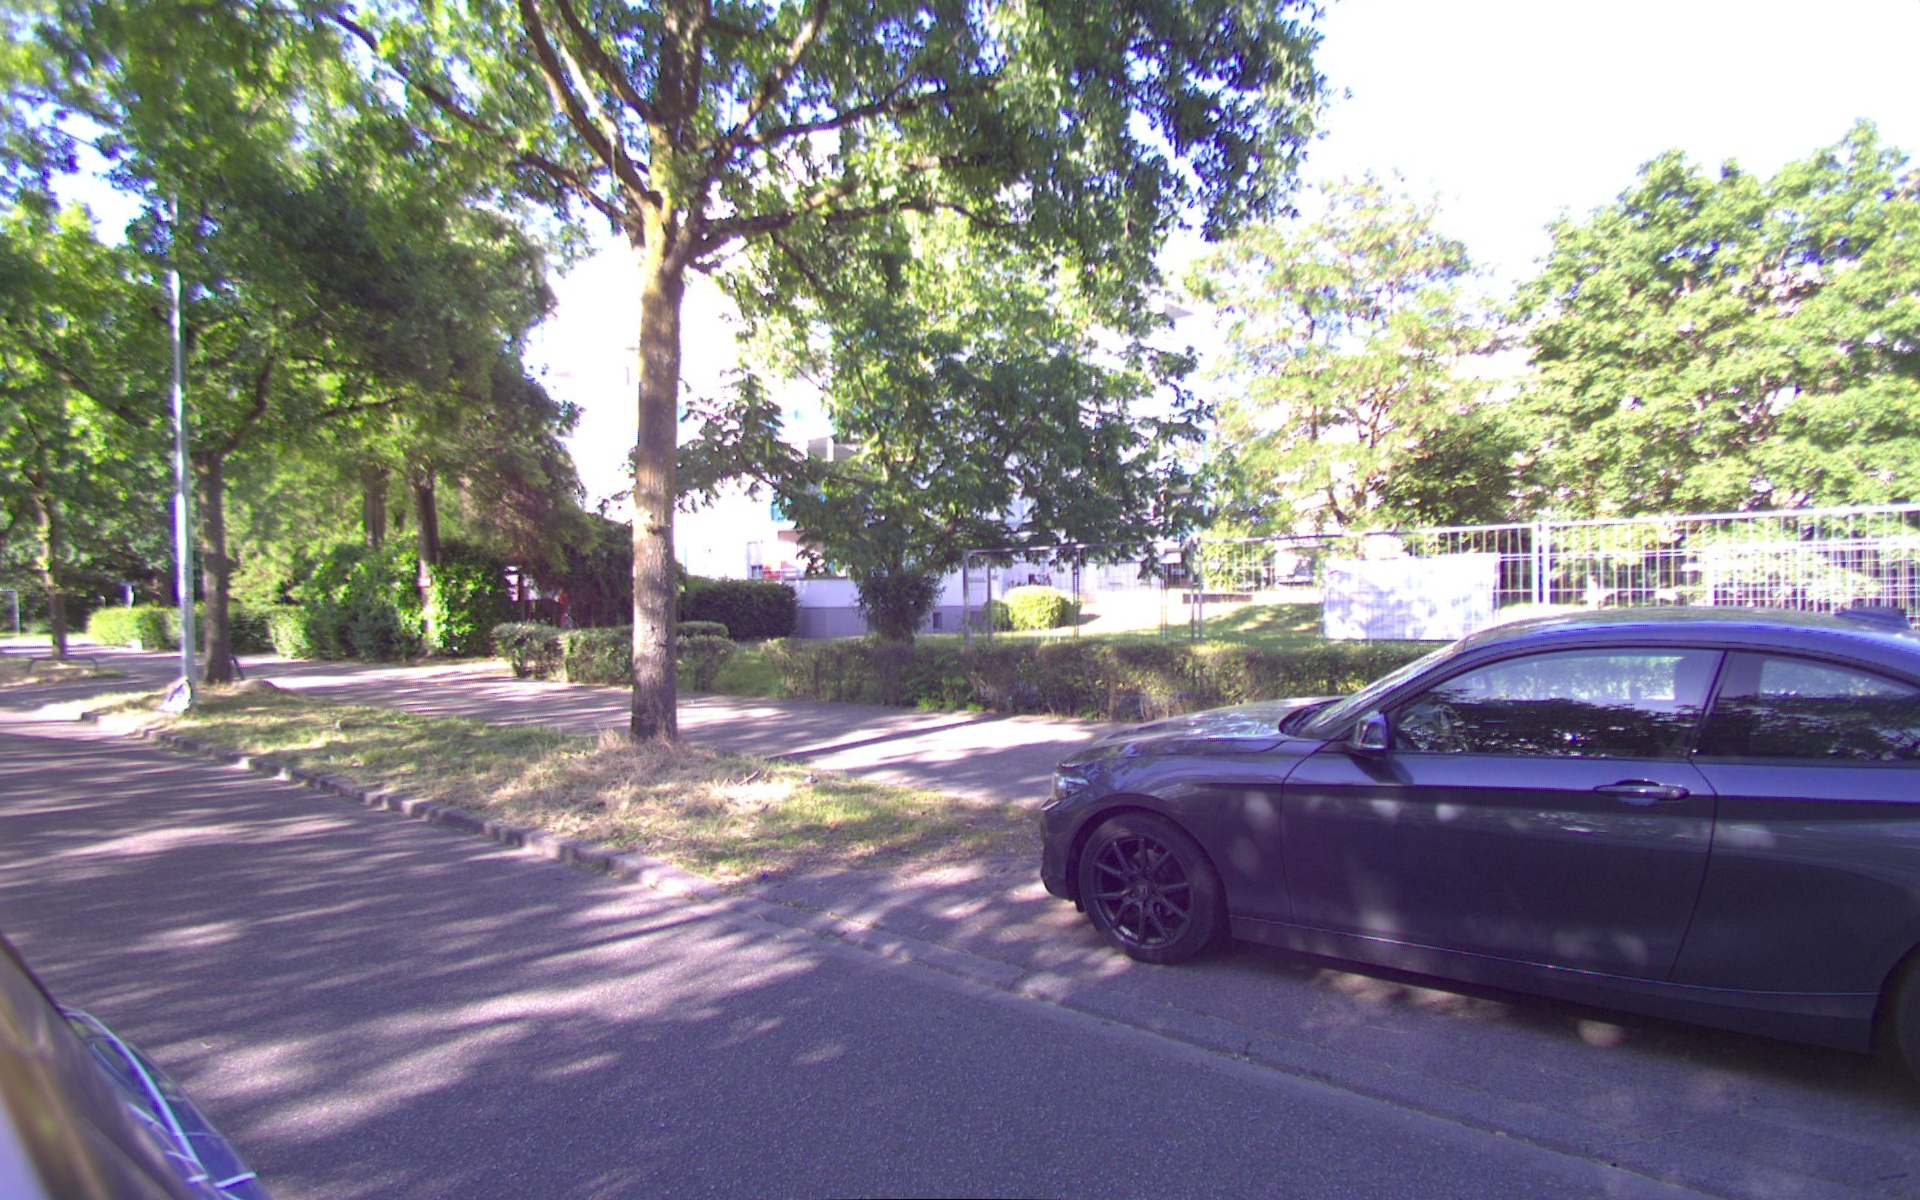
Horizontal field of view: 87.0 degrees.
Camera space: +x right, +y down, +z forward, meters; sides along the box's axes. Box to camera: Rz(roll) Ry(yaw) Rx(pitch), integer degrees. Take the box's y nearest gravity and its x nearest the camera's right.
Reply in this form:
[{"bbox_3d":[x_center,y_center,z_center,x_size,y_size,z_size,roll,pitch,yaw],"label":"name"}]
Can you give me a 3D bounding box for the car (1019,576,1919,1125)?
[{"bbox_3d":[2.427,0.678,3.882,4.130,1.443,1.700,-1,1,37],"label":"car"}]
